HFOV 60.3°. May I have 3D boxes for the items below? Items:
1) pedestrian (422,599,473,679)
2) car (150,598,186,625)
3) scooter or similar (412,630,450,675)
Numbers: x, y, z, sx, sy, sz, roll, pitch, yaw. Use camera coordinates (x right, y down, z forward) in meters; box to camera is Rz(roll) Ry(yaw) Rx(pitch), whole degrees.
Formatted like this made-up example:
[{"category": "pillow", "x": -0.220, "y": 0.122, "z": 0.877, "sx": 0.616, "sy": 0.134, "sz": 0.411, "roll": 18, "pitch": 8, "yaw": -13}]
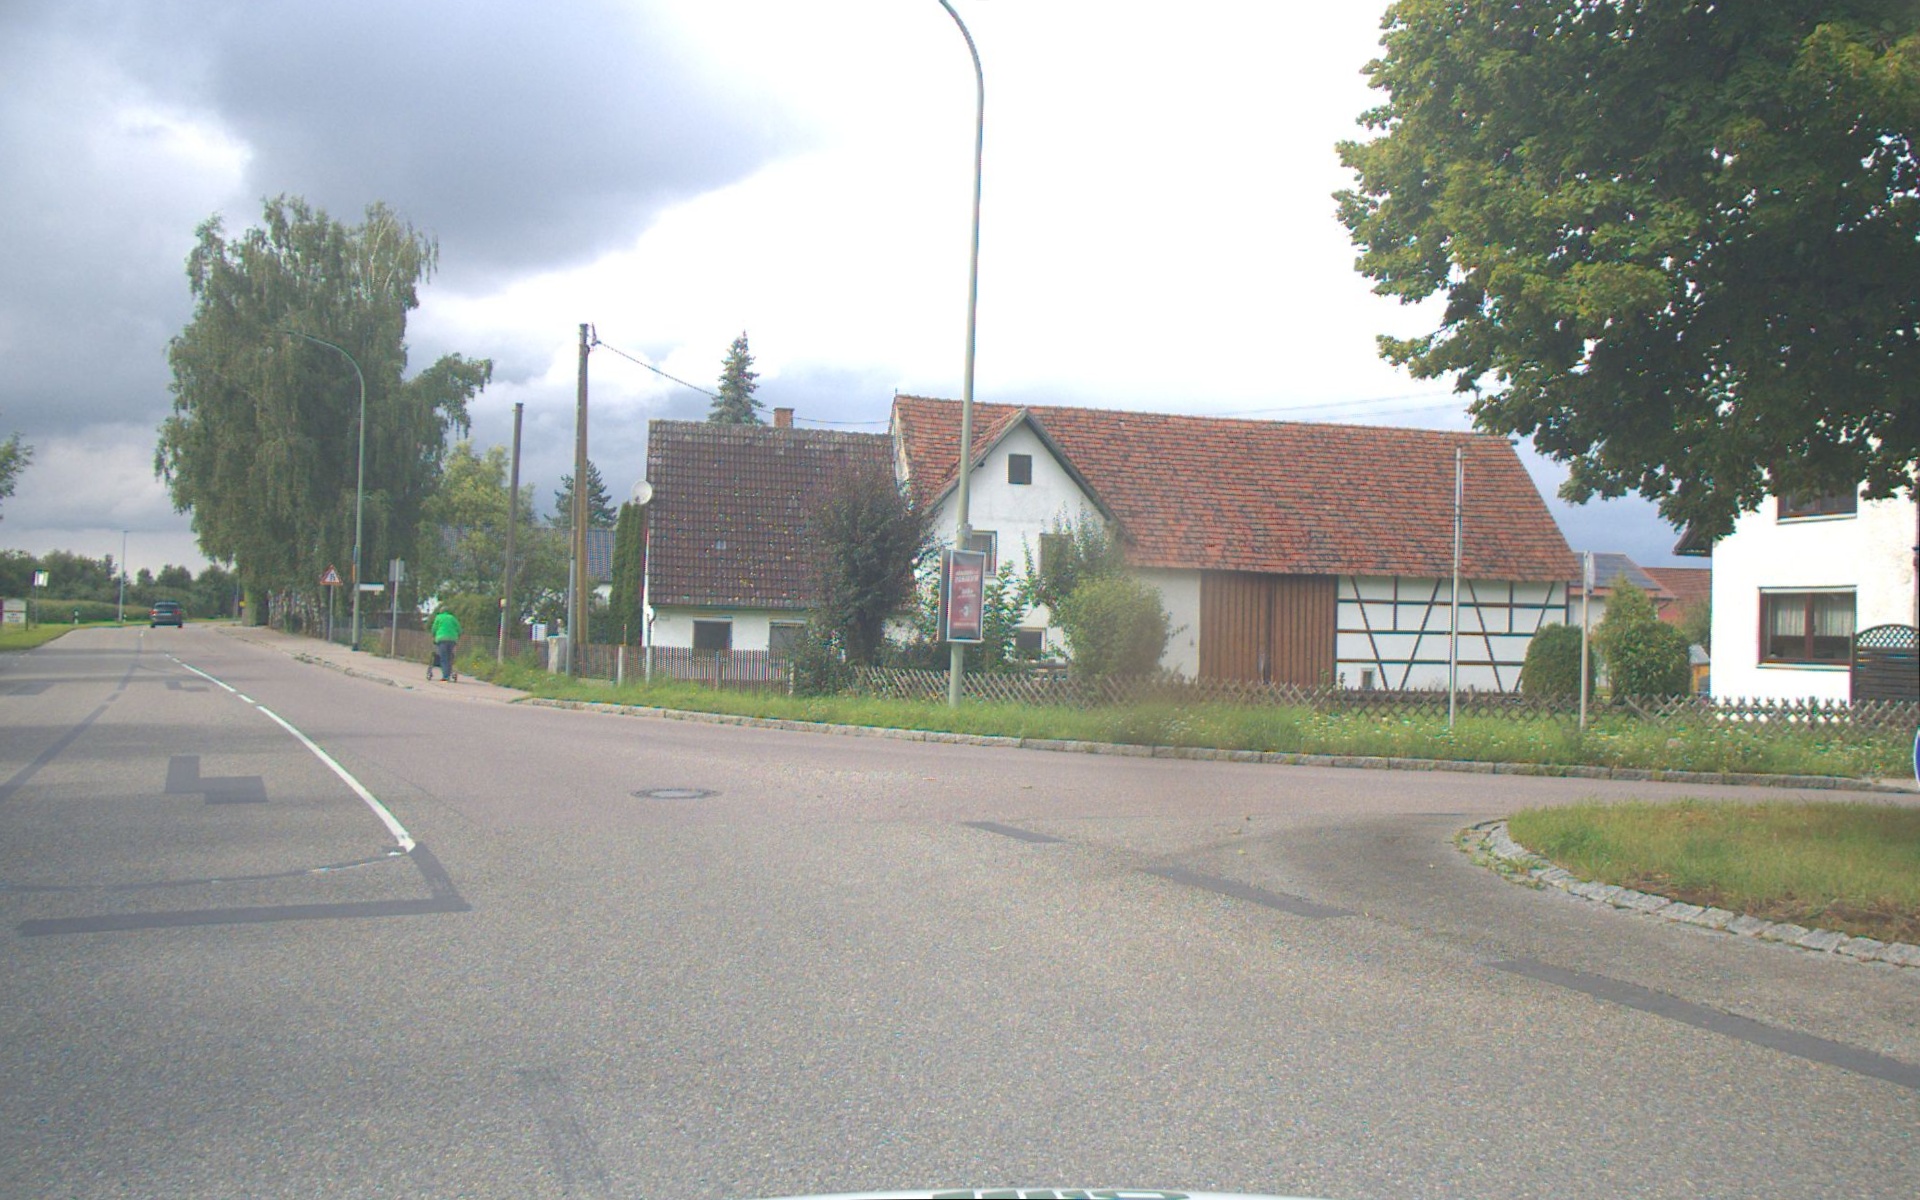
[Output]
[{"category": "pedestrian", "x": -11.537, "y": 0.874, "z": 37.228, "sx": 0.780, "sy": 1.694, "sz": 0.705, "roll": 7, "pitch": -3, "yaw": -31}, {"category": "car", "x": -50.019, "y": 0.731, "z": 104.514, "sx": 1.969, "sy": 1.579, "sz": 3.967, "roll": 3, "pitch": -1, "yaw": -26}, {"category": "scooter or similar", "x": -12.073, "y": 1.195, "z": 37.736, "sx": 0.624, "sy": 0.964, "sz": 0.616, "roll": 7, "pitch": -3, "yaw": -31}]
